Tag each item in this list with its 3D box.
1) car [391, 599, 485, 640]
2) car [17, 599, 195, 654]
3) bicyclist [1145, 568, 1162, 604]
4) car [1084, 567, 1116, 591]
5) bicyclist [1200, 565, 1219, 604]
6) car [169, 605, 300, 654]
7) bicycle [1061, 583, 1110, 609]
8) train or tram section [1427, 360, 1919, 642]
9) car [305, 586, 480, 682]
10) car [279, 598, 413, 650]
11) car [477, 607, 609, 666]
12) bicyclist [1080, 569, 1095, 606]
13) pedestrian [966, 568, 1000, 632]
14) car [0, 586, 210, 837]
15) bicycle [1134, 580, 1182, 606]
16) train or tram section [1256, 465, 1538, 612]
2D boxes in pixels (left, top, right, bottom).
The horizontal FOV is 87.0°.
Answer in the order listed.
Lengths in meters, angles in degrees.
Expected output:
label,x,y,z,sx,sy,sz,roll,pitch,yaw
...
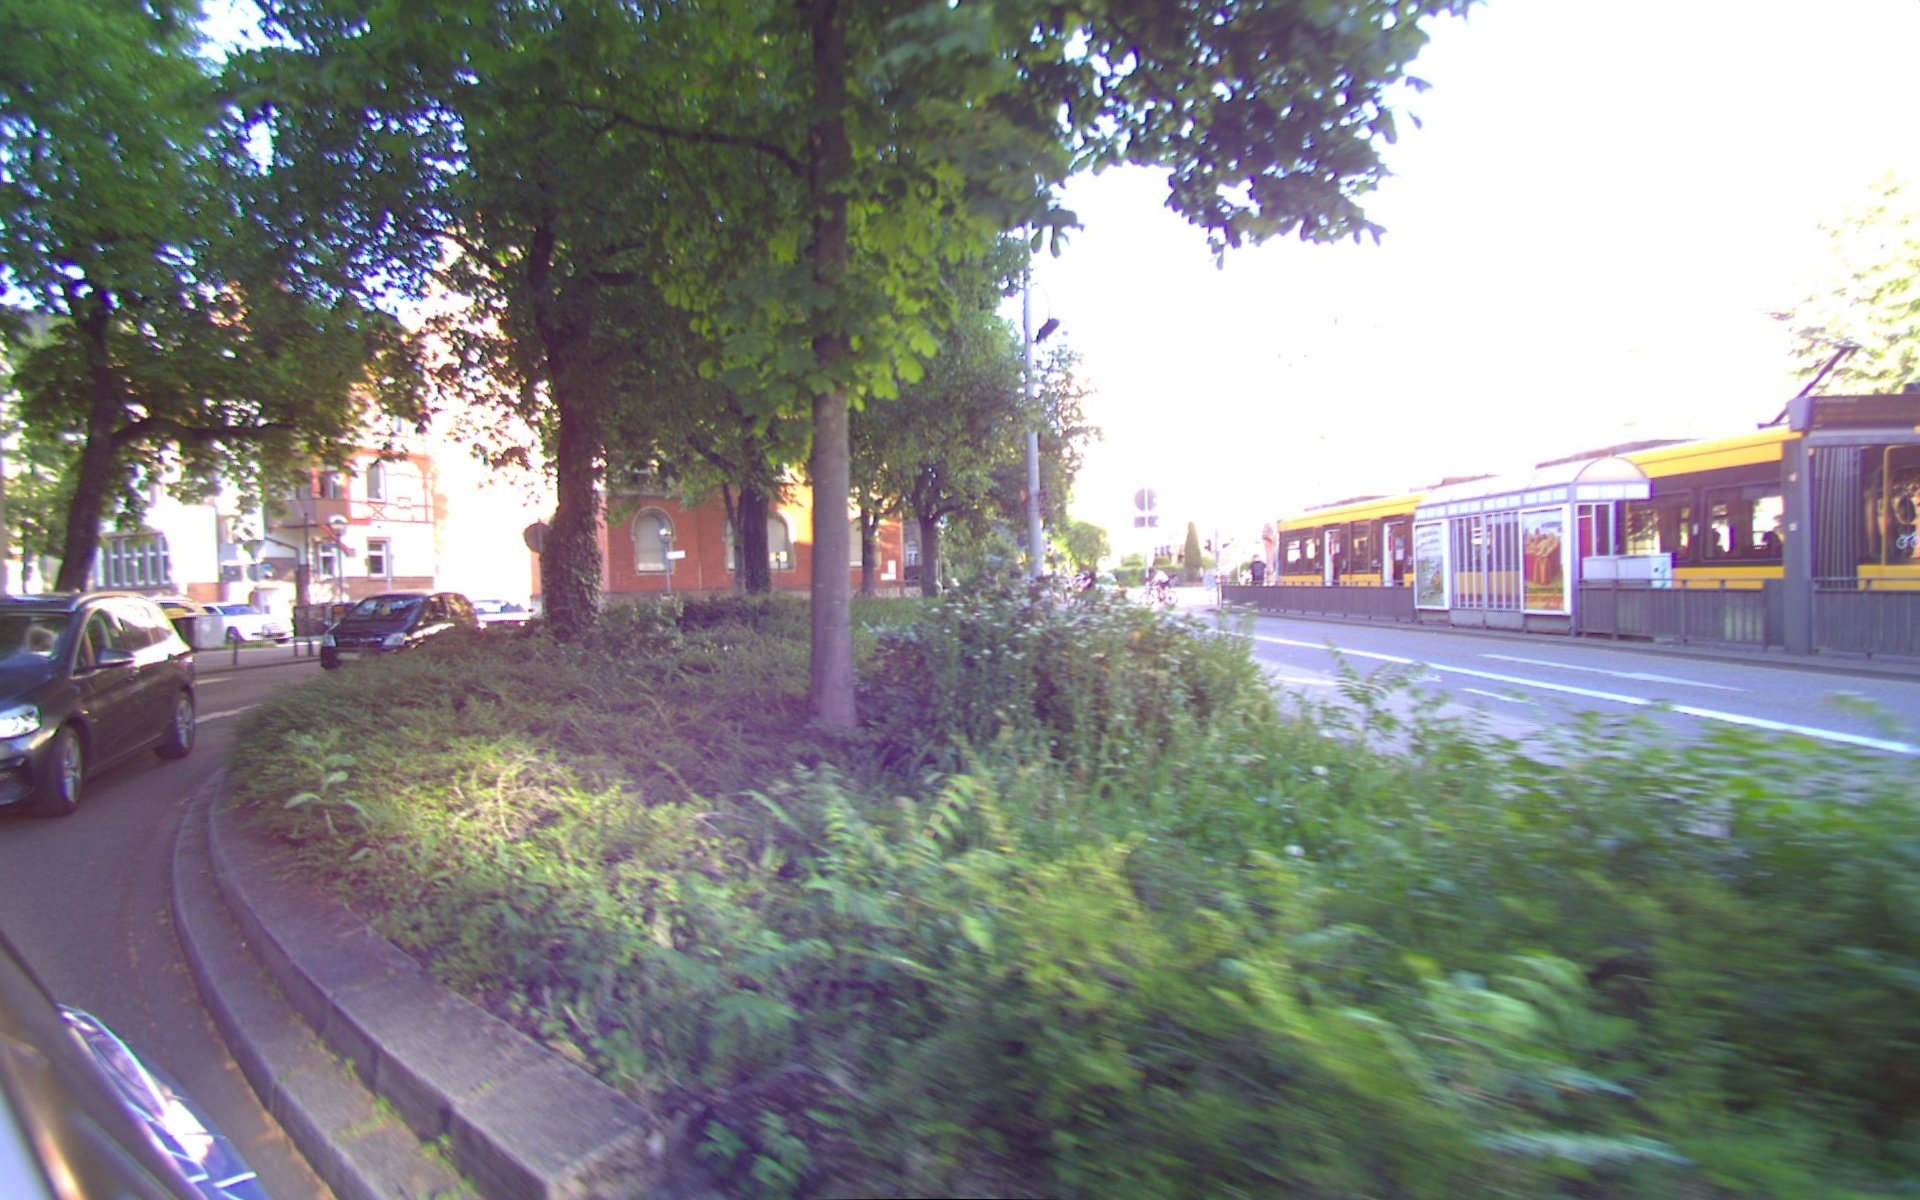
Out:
label,x,y,z,sx,sy,sz,roll,pitch,yaw
car,-20.566,0.768,39.873,3.190,1.551,1.483,-1,0,19
car,-25.956,0.763,30.902,1.665,1.436,3.776,-2,1,22
bicyclist,8.502,-0.618,44.552,0.547,1.585,0.598,-2,1,-3
car,8.728,-1.316,63.436,1.715,1.427,3.994,-2,1,5
bicyclist,10.382,-0.637,42.108,0.589,1.585,0.555,-2,1,0
car,-26.383,1.069,36.824,4.153,1.564,1.795,-2,0,19
bicycle,5.417,-0.168,43.673,1.951,1.065,0.639,-2,1,-7
train or tram section,13.419,-1.436,19.212,2.746,3.614,12.428,-2,1,-3
car,-10.979,0.582,19.875,1.655,1.640,3.693,-2,1,-6
car,-20.838,0.808,34.355,4.020,1.564,1.686,-2,0,19
car,-11.312,0.959,27.733,1.662,1.419,3.677,-1,1,9
bicyclist,5.505,-0.542,43.653,0.493,1.585,0.496,-2,1,-5
pedestrian,0.550,-0.008,23.973,0.701,1.454,0.599,-2,1,5
car,-7.681,0.721,8.048,1.763,1.590,4.275,-2,1,-23
bicycle,8.712,-0.303,44.566,1.952,1.065,0.639,-2,1,-3
train or tram section,12.852,-1.665,31.772,2.733,3.583,12.690,-2,1,-3
